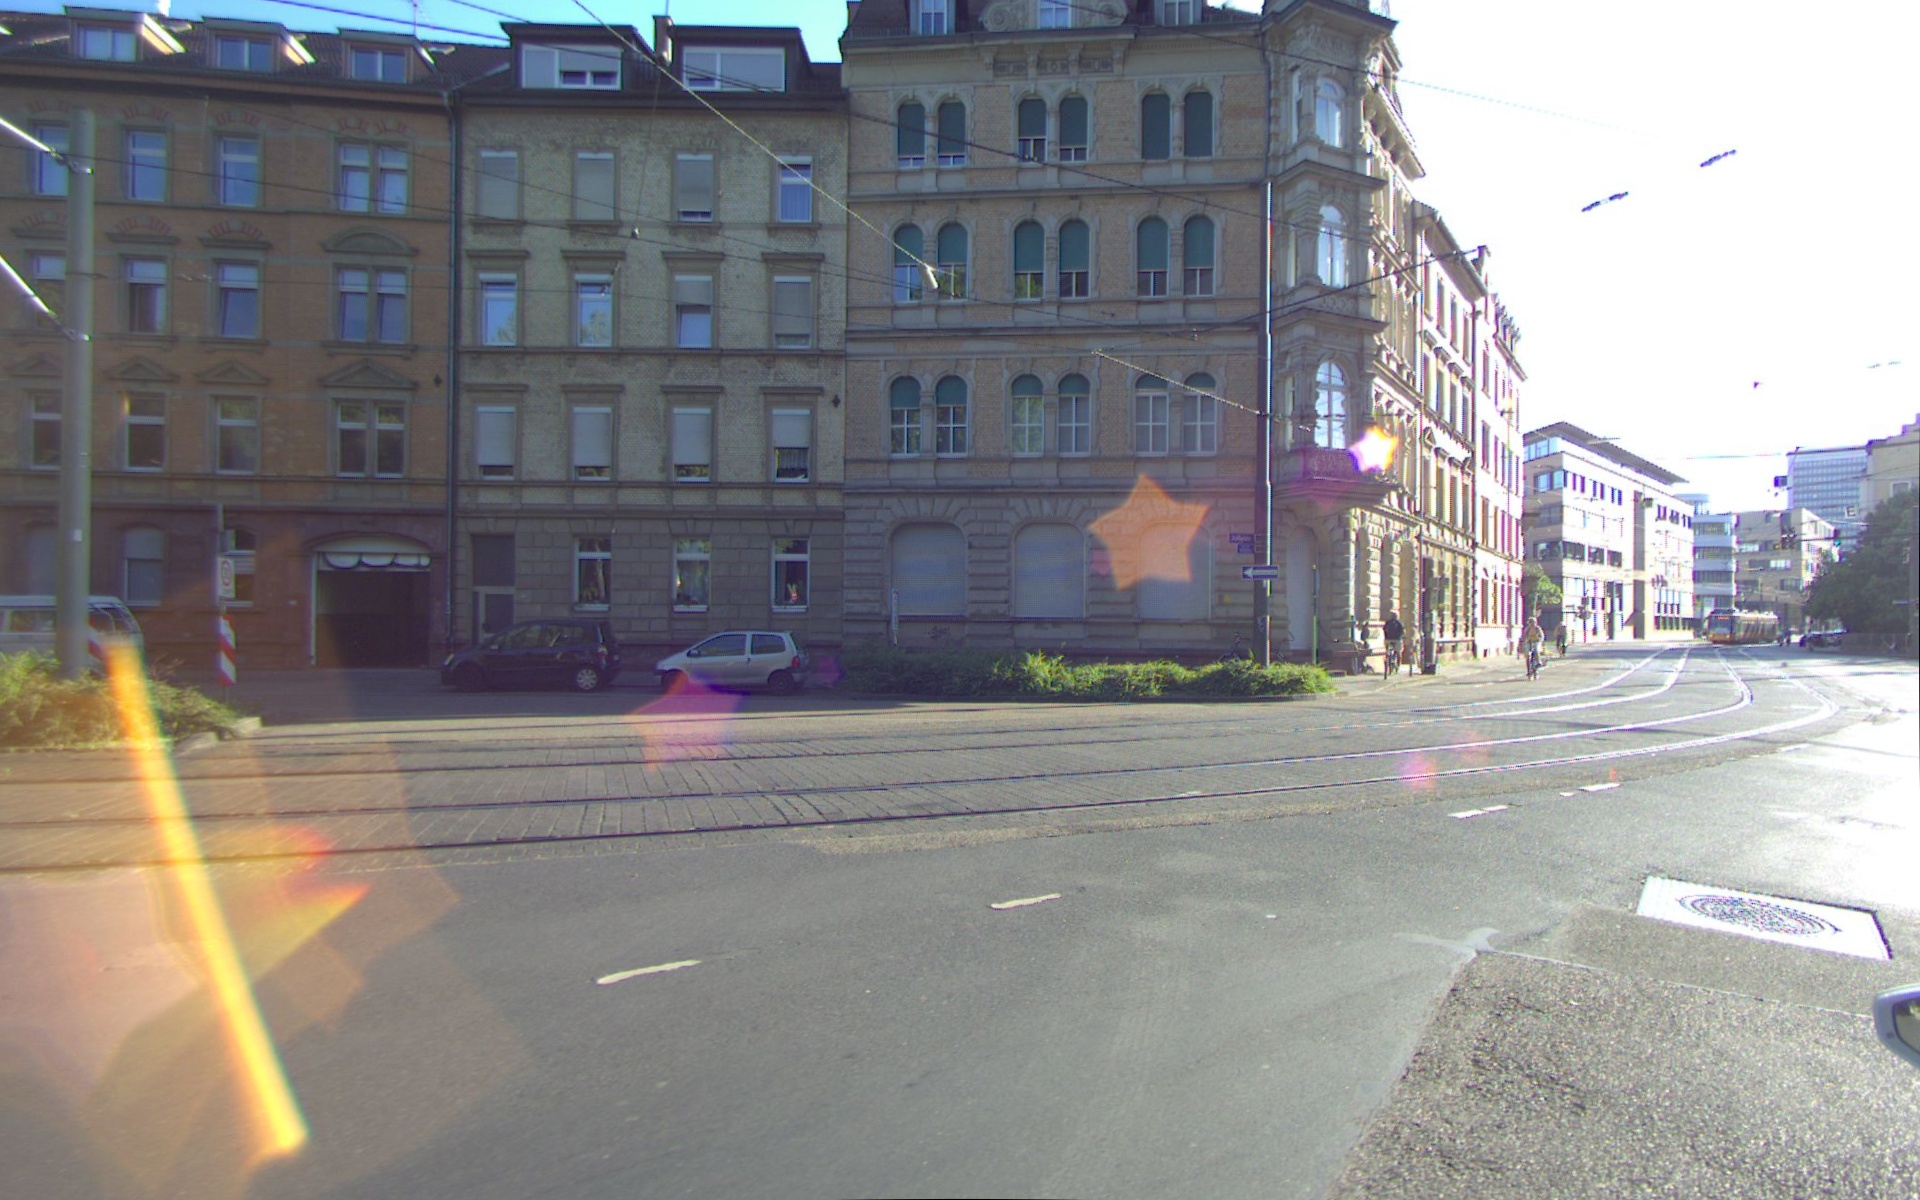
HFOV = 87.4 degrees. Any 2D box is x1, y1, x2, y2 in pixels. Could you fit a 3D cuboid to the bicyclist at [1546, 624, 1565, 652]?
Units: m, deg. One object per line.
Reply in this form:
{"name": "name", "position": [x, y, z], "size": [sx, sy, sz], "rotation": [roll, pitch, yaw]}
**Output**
{"name": "bicyclist", "position": [32.624, 2.063, 55.055], "size": [0.832, 1.534, 0.799], "rotation": [-1, -2, 37]}

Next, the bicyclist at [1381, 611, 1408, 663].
{"name": "bicyclist", "position": [12.787, 1.084, 29.558], "size": [0.584, 1.511, 0.700], "rotation": [0, -2, 37]}

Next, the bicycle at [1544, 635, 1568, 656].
{"name": "bicycle", "position": [32.627, 2.468, 54.965], "size": [0.934, 1.112, 1.991], "rotation": [-1, -2, 36]}

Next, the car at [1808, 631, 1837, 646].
{"name": "car", "position": [88.247, 3.960, 102.780], "size": [1.974, 1.505, 3.975], "rotation": [-1, -2, 45]}

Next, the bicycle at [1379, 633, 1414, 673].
{"name": "bicycle", "position": [12.860, 1.546, 29.553], "size": [0.494, 1.147, 2.118], "rotation": [0, -2, 37]}

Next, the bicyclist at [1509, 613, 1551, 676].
{"name": "bicyclist", "position": [17.752, 1.381, 31.260], "size": [1.016, 1.915, 1.109], "rotation": [0, -2, 36]}

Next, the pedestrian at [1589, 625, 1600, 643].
{"name": "pedestrian", "position": [65.990, 3.513, 104.521], "size": [0.730, 1.866, 0.798], "rotation": [2, -2, -42]}

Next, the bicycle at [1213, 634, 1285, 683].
{"name": "bicycle", "position": [7.588, 1.525, 26.403], "size": [1.756, 1.222, 0.503], "rotation": [0, 2, 3]}

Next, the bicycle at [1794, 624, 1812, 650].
{"name": "bicycle", "position": [60.583, 2.632, 72.190], "size": [0.556, 1.830, 1.358], "rotation": [0, -1, 20]}

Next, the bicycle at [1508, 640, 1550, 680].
{"name": "bicycle", "position": [17.740, 1.841, 31.308], "size": [0.871, 1.171, 2.316], "rotation": [0, -2, 37]}

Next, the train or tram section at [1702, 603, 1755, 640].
{"name": "train or tram section", "position": [79.397, 2.272, 103.631], "size": [14.178, 3.621, 2.220], "rotation": [2, -2, -44]}

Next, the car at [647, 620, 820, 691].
{"name": "car", "position": [-4.985, 1.203, 22.466], "size": [3.426, 1.448, 1.856], "rotation": [0, 1, 0]}

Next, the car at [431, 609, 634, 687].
{"name": "car", "position": [-9.473, 1.032, 22.544], "size": [3.801, 1.584, 1.854], "rotation": [0, 1, -9]}

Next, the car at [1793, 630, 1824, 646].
{"name": "car", "position": [80.752, 3.592, 95.561], "size": [1.974, 1.483, 3.975], "rotation": [-1, -2, 45]}

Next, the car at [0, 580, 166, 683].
{"name": "car", "position": [-20.198, 0.631, 21.331], "size": [4.908, 2.091, 1.855], "rotation": [0, 1, -9]}
